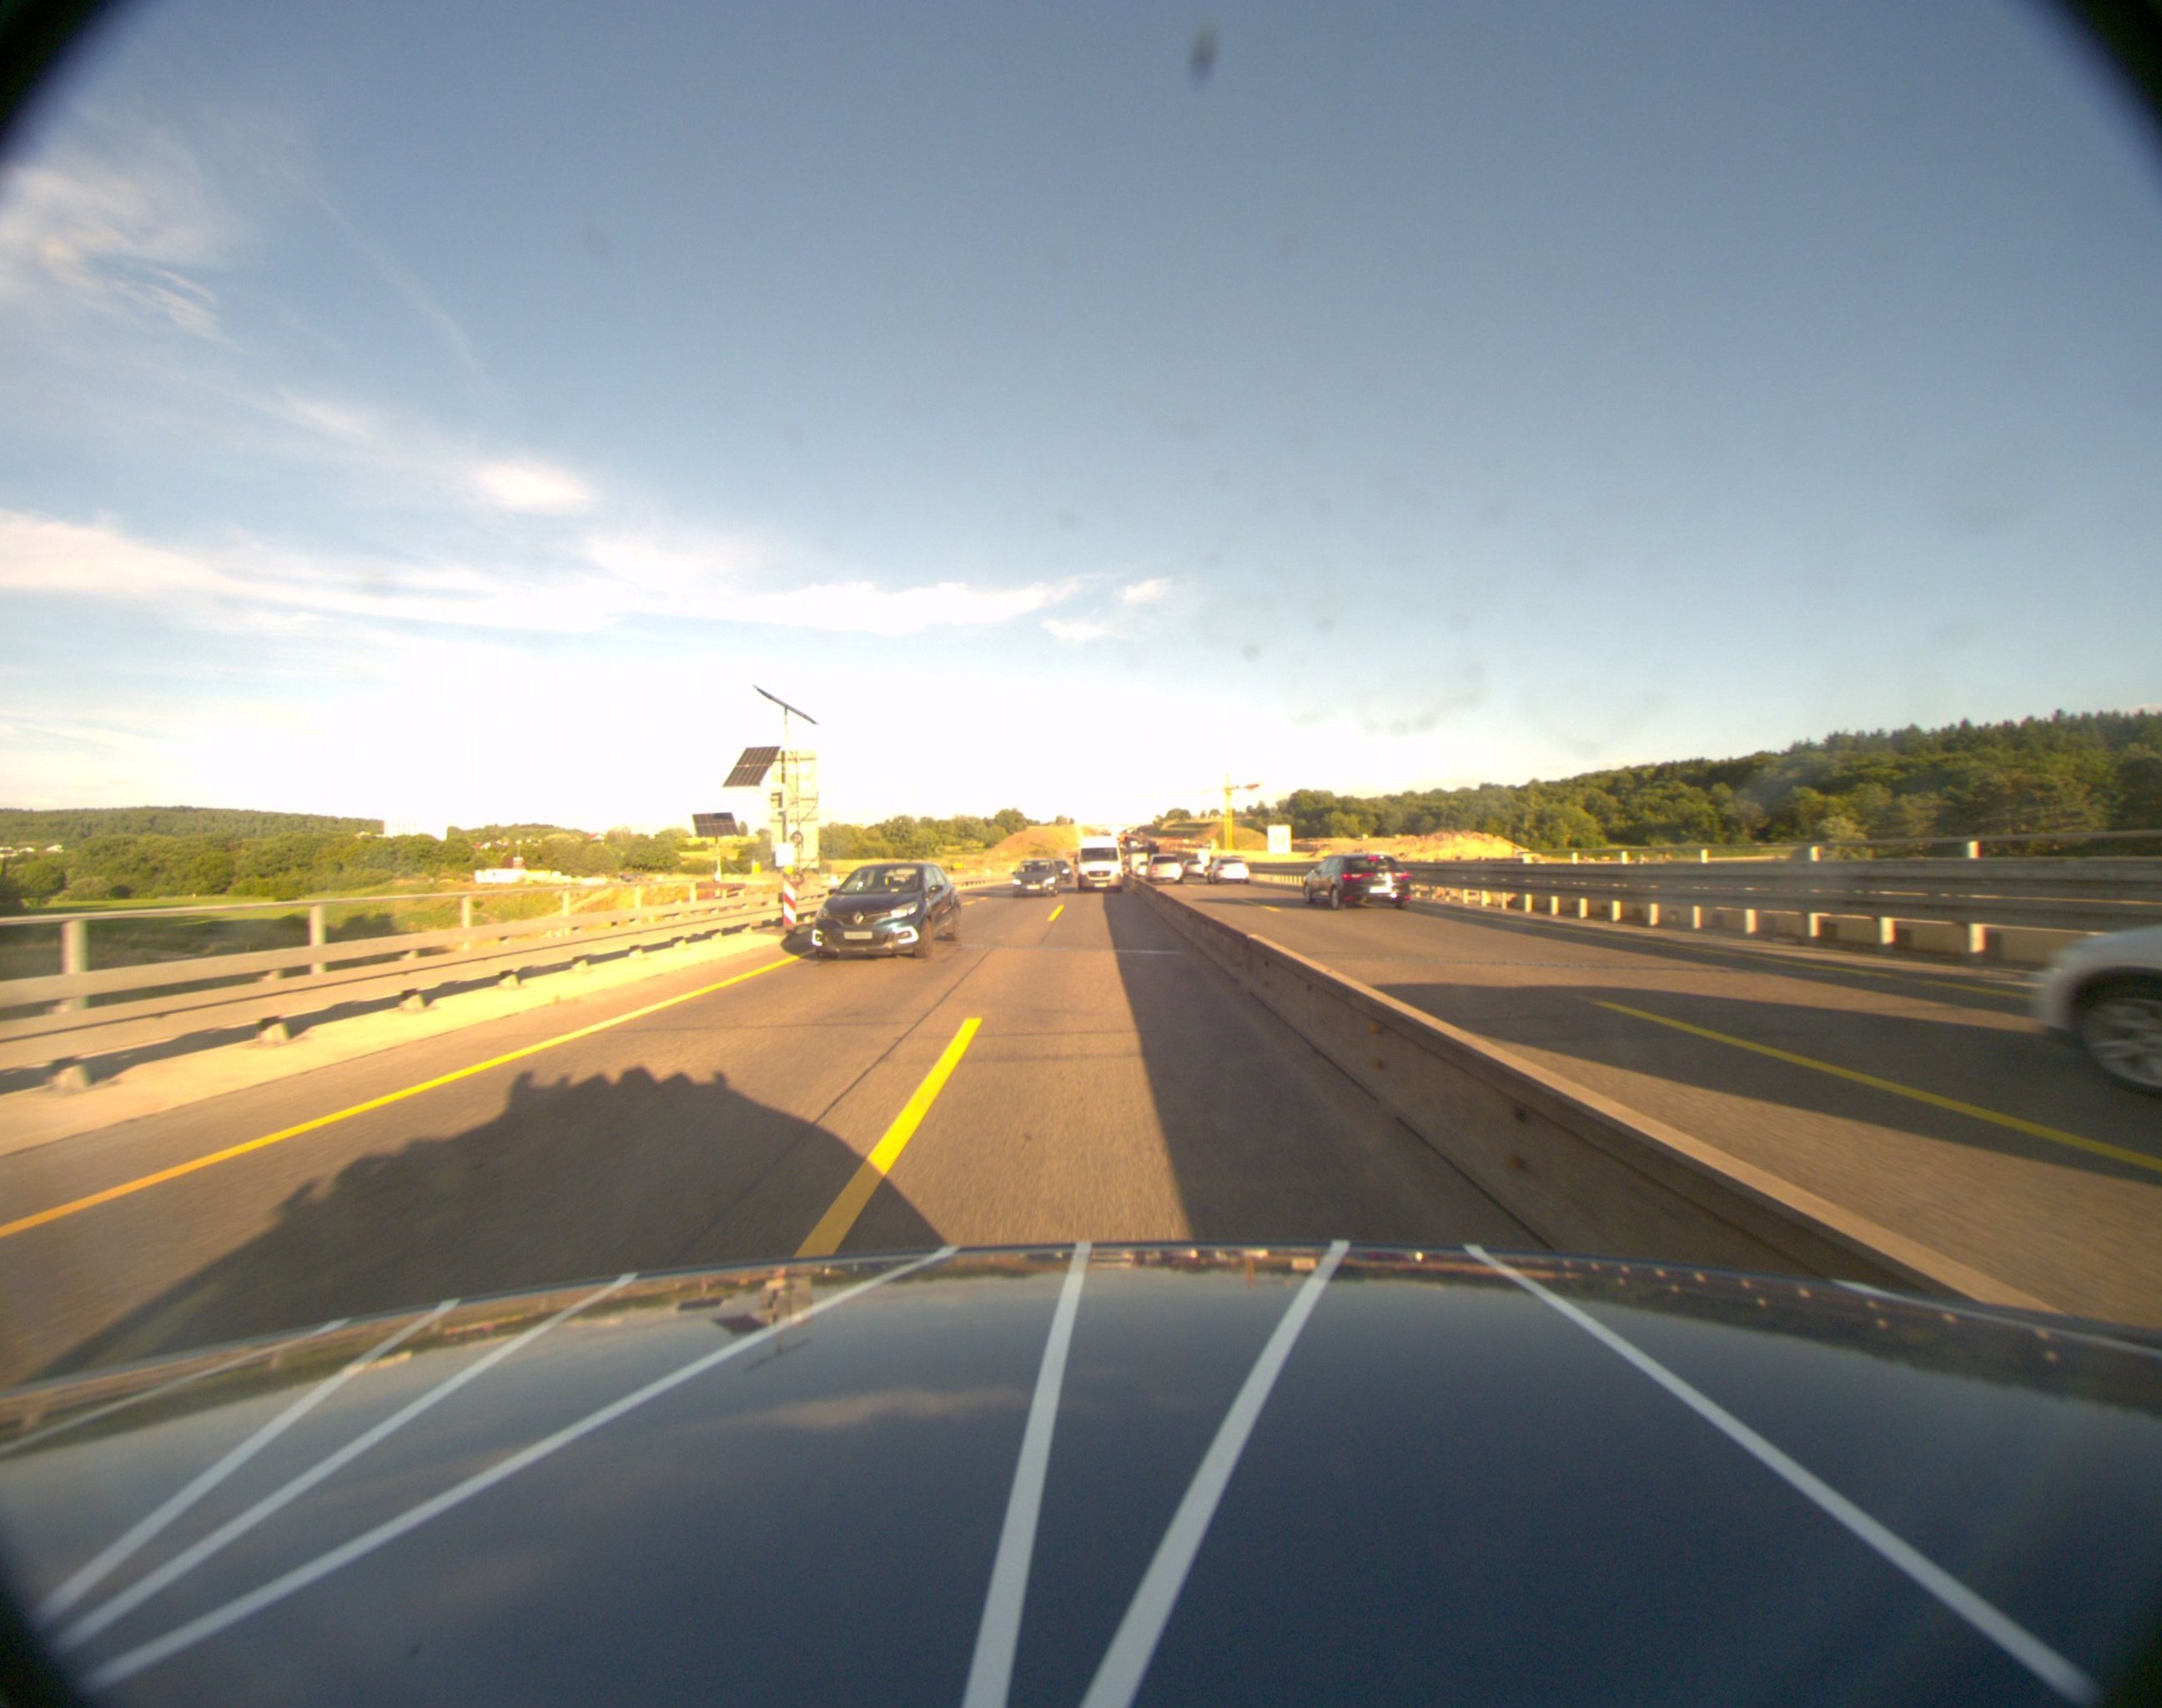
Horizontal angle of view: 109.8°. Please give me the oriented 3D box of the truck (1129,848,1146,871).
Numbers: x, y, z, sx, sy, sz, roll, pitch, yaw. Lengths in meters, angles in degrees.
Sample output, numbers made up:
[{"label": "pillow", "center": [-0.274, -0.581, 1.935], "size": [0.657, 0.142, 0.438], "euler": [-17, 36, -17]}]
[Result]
[{"label": "truck", "center": [10.547, 1.046, 142.780], "size": [2.821, 4.024, 5.673], "euler": [-1, 0, 2]}]

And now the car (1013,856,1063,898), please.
[{"label": "car", "center": [-1.799, 0.948, 33.202], "size": [1.817, 1.605, 4.526], "euler": [-4, 0, 0]}]

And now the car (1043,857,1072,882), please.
[{"label": "car", "center": [-1.673, 1.094, 55.269], "size": [1.902, 1.703, 4.888], "euler": [-2, -1, 0]}]

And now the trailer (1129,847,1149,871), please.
[{"label": "trailer", "center": [10.280, 0.986, 136.070], "size": [2.821, 4.026, 14.024], "euler": [-2, -1, 2]}]

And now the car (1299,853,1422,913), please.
[{"label": "car", "center": [7.295, 0.694, 20.328], "size": [1.780, 1.396, 4.309], "euler": [-2, 0, 1]}]

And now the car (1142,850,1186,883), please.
[{"label": "car", "center": [4.713, 0.670, 43.808], "size": [1.998, 1.748, 4.660], "euler": [-2, 0, 1]}]

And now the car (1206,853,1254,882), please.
[{"label": "car", "center": [7.931, 0.694, 40.913], "size": [1.778, 1.374, 4.532], "euler": [-1, 0, 1]}]

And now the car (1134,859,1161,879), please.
[{"label": "car", "center": [5.342, 1.158, 61.410], "size": [1.809, 1.503, 4.000], "euler": [-2, 0, 1]}]

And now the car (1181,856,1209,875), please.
[{"label": "car", "center": [9.017, 0.921, 60.414], "size": [1.681, 1.414, 4.580], "euler": [-3, -1, 2]}]

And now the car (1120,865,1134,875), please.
[{"label": "car", "center": [7.665, 2.679, 127.083], "size": [1.998, 1.635, 4.512], "euler": [-3, -1, 1]}]

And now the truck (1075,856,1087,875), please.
[{"label": "truck", "center": [-0.026, 2.399, 157.180], "size": [2.263, 3.705, 6.572], "euler": [-5, 0, -1]}]

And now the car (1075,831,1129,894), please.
[{"label": "car", "center": [0.950, 0.404, 33.958], "size": [2.109, 2.517, 5.221], "euler": [-2, -1, 2]}]

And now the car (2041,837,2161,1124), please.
[{"label": "car", "center": [6.686, 0.658, 2.401], "size": [1.933, 1.537, 4.289], "euler": [-1, 0, 1]}]

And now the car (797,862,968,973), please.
[{"label": "car", "center": [-3.271, 0.970, 13.383], "size": [1.778, 1.576, 4.135], "euler": [-3, -1, 1]}]
